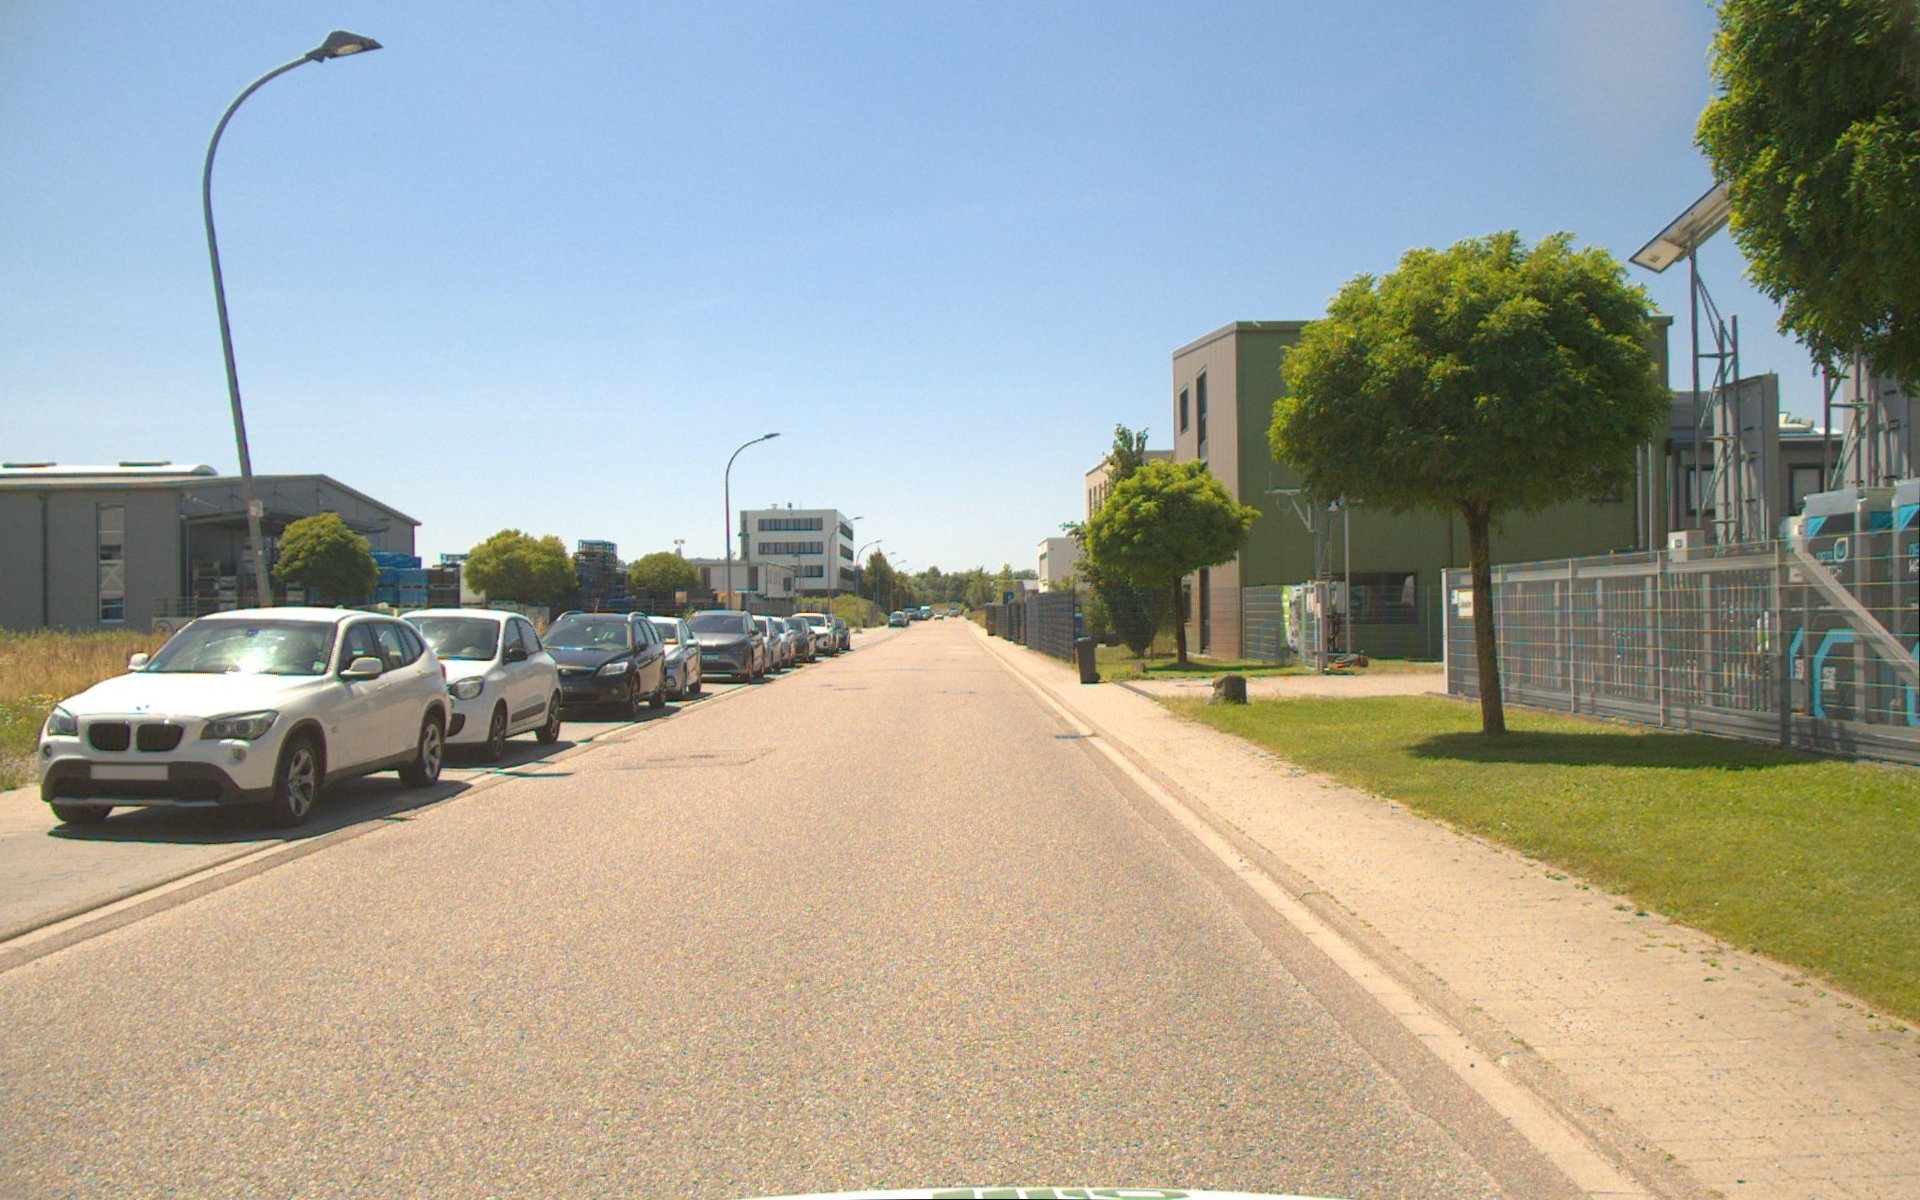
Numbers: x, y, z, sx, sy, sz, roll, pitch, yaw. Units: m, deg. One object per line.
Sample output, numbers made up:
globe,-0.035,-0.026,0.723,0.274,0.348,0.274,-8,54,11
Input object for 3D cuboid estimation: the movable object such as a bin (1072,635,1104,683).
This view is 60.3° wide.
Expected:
movable object such as a bin,2.639,1.219,34.157,0.540,0.944,0.522,-4,-1,9

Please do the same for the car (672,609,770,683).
car,-5.582,1.047,39.153,1.754,1.635,4.461,0,-1,-1

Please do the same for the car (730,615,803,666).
car,-5.887,1.206,50.786,1.739,1.507,4.814,0,-1,-1

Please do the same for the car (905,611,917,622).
car,-6.692,2.211,225.275,1.611,1.516,3.207,-1,0,0

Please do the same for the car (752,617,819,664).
car,-5.834,1.330,55.648,1.819,1.507,4.228,0,-1,0

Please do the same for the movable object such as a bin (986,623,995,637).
movable object such as a bin,2.232,2.217,122.382,0.541,0.944,0.522,-5,0,4

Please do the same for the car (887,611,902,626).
car,-6.707,1.936,170.297,1.437,1.516,3.207,-1,0,0

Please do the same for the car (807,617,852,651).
car,-5.944,1.526,75.517,1.733,1.487,4.332,0,-1,0

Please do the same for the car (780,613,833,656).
car,-5.950,1.326,64.536,1.733,1.620,4.358,0,-1,-2

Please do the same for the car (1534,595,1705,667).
car,14.614,0.642,36.949,1.953,1.464,4.611,-1,0,0

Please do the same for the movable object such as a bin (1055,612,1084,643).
movable object such as a bin,5.339,1.347,80.702,1.307,1.485,0.948,-1,-1,-1

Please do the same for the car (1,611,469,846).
car,-5.525,0.880,13.307,1.750,1.569,4.365,0,0,1

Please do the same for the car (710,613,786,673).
car,-5.728,1.146,45.091,1.659,1.552,3.734,0,-1,-1

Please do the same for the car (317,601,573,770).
car,-5.591,0.866,18.437,1.751,1.685,3.767,0,0,-1

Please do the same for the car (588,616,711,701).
car,-5.787,1.054,31.272,1.728,1.476,4.197,0,0,-3

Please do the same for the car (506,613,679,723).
car,-5.565,0.973,25.566,1.727,1.544,4.379,0,0,-1
